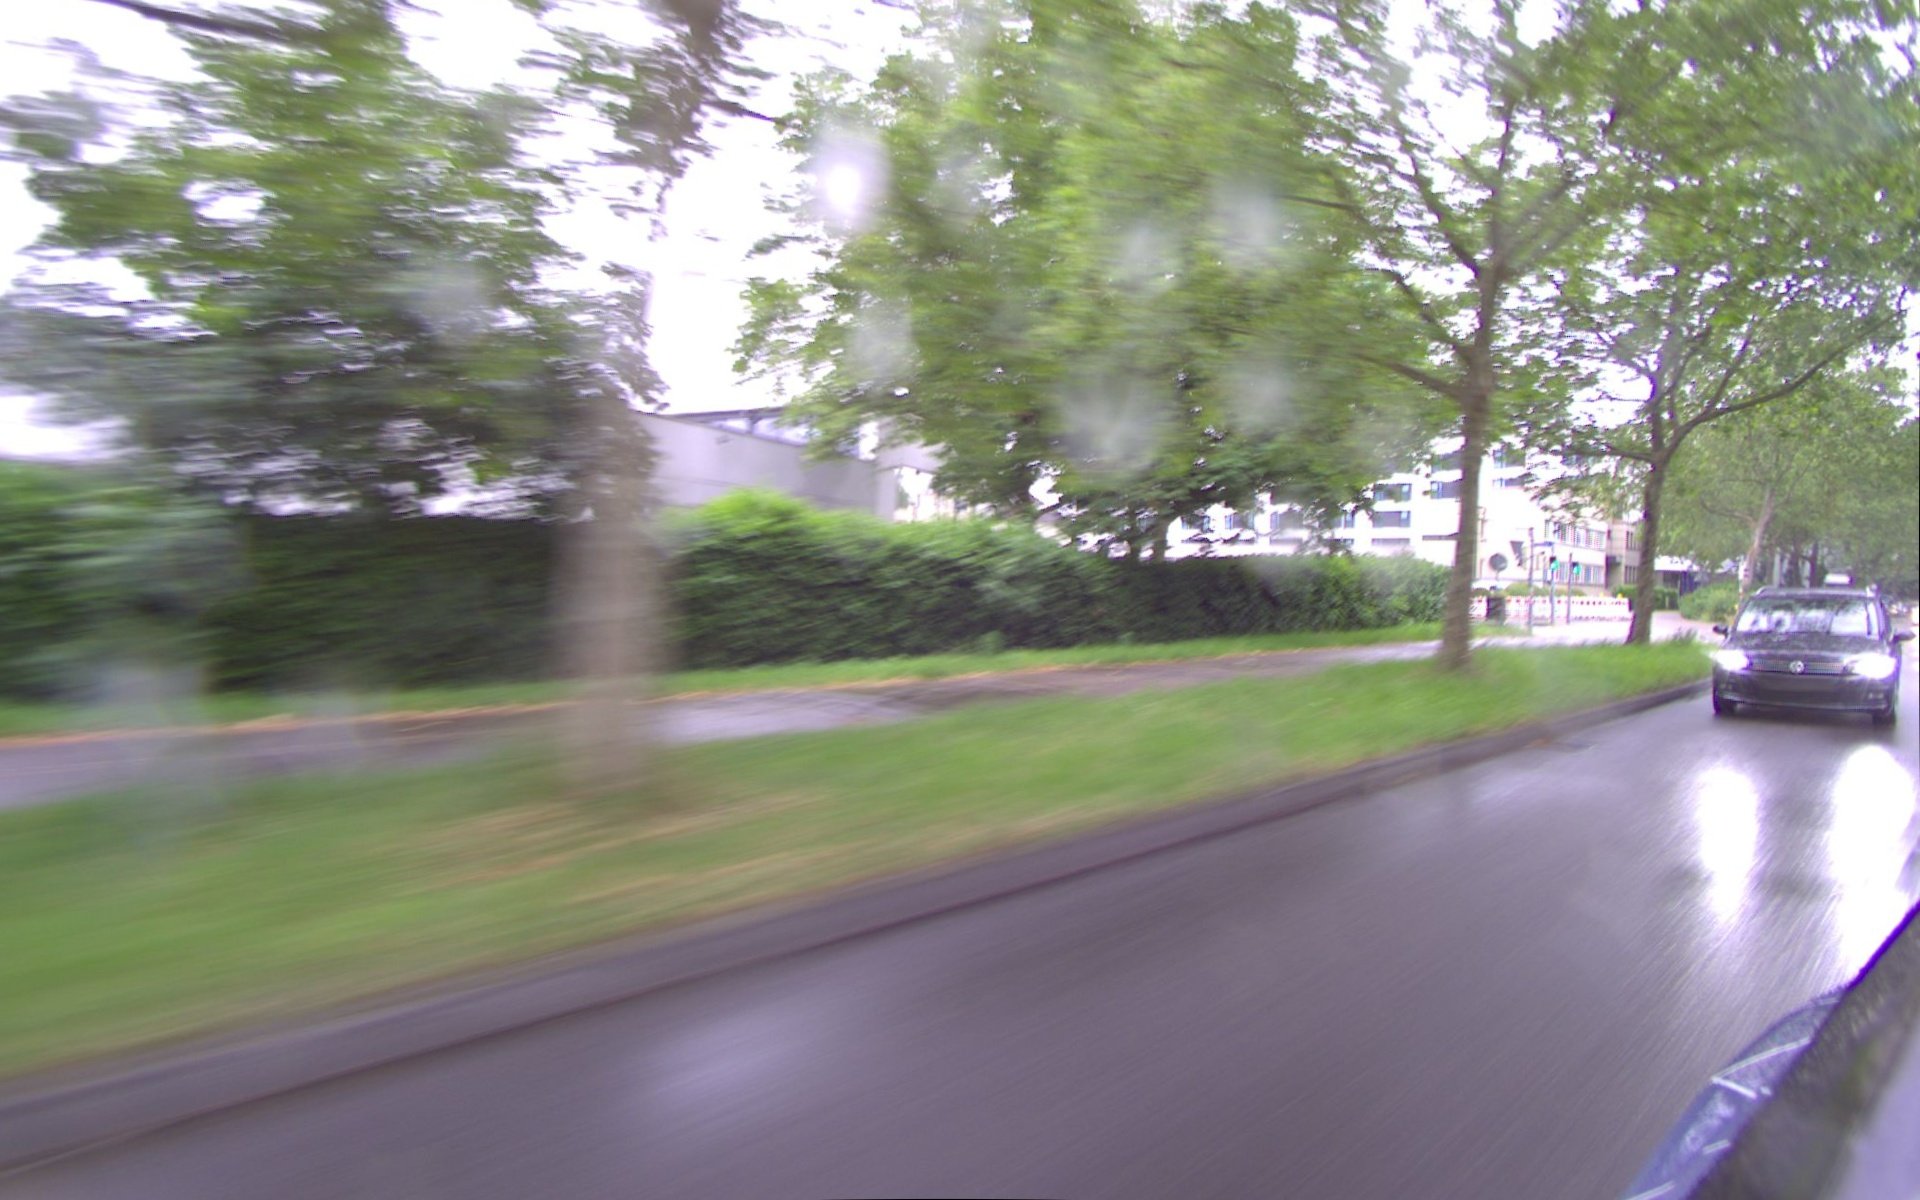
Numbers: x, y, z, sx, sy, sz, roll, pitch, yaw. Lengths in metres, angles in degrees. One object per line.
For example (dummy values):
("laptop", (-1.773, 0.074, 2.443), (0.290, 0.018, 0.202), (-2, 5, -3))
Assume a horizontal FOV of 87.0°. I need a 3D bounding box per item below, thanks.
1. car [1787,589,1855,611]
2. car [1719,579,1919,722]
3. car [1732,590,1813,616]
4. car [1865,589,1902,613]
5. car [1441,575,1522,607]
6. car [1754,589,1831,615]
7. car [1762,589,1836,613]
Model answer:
("car", (67.791, -0.026, 79.676), (3.987, 1.575, 1.757), (2, 2, 44))
("car", (11.439, 0.547, 13.430), (1.779, 1.575, 3.938), (2, 2, 43))
("car", (53.158, 0.164, 66.223), (3.987, 1.575, 1.757), (2, 2, 44))
("car", (62.960, 0.040, 68.979), (1.780, 1.575, 3.937), (2, 2, 43))
("car", (31.397, -0.546, 60.948), (3.987, 1.792, 1.757), (2, 2, 44))
("car", (57.318, 0.116, 69.727), (3.987, 1.575, 1.757), (2, 2, 44))
("car", (61.066, 0.057, 73.690), (3.987, 1.575, 1.757), (2, 2, 44))
